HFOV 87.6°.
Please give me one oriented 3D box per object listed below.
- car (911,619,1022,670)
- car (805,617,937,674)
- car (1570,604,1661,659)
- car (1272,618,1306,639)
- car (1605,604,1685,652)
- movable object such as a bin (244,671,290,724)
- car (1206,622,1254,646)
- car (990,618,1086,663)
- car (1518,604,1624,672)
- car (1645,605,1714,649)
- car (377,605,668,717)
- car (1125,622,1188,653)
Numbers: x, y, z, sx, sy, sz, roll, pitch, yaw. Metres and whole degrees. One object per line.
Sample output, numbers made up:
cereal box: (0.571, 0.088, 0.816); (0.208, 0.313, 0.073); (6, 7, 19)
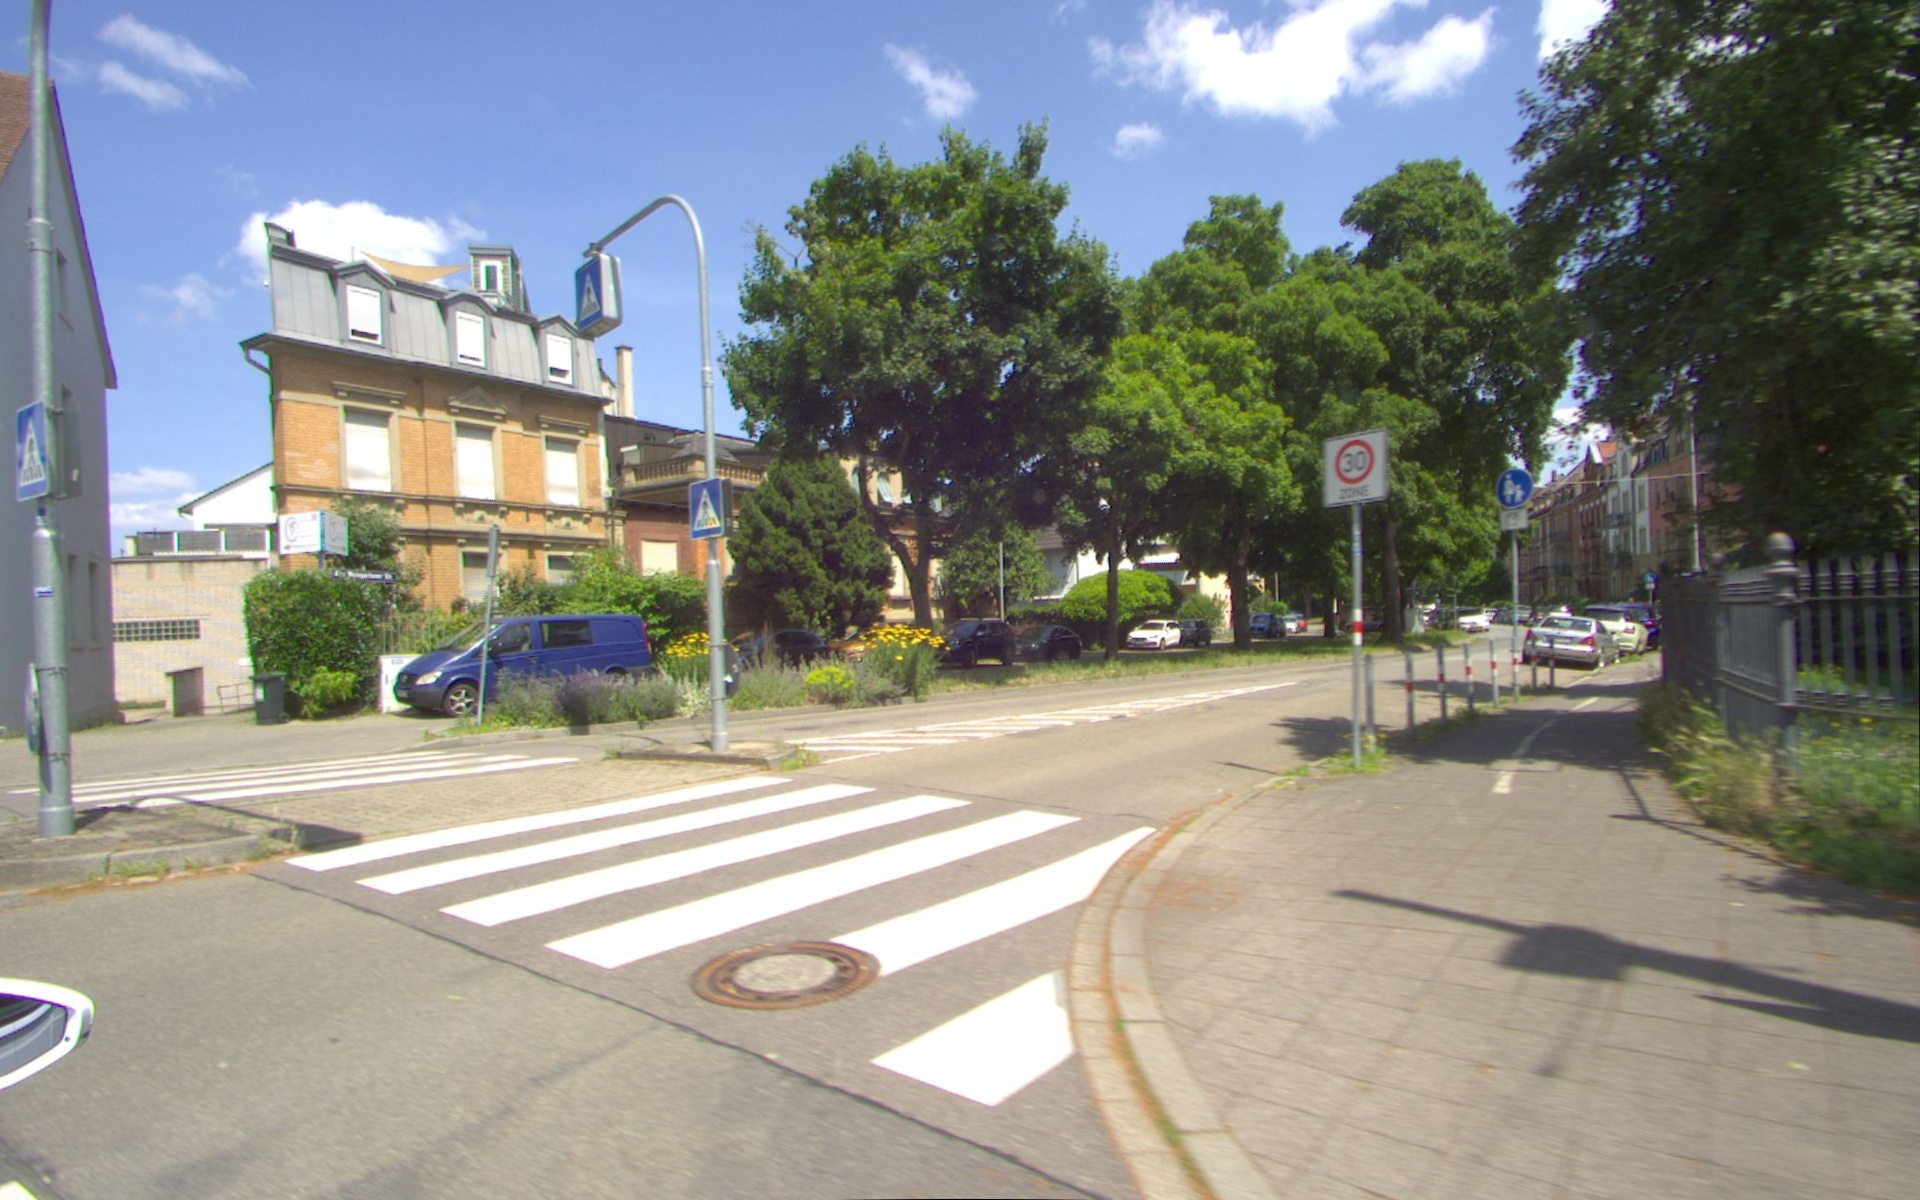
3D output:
car: (0.297, 1.575, 35.184); (1.836, 1.610, 4.221); (-4, -4, 33)
car: (-2.670, 1.411, 30.997); (1.836, 1.610, 4.221); (-4, -4, 33)
car: (19.158, 0.933, 29.192); (1.591, 1.458, 3.699); (-5, -4, 42)
car: (24.563, 2.129, 74.688); (1.492, 1.410, 4.441); (-4, -4, 30)
car: (22.524, 0.938, 32.878); (1.591, 1.458, 3.699); (-5, -4, 42)
movable object such as a bin: (-12.588, 1.759, 18.184); (0.549, 0.927, 0.420); (-2, -3, 8)
car: (16.698, 2.113, 61.798); (1.494, 1.410, 4.436); (-4, -4, 33)
car: (3.172, 1.617, 39.695); (1.836, 1.610, 4.436); (-4, -4, 33)
car: (15.693, 0.942, 25.650); (1.589, 1.572, 3.699); (3, 1, 42)
car: (26.556, 1.018, 36.929); (1.591, 1.458, 3.699); (-5, -4, 42)
car: (-8.982, 1.147, 20.965); (2.060, 1.973, 5.198); (-1, 0, 41)
car: (9.906, 1.905, 50.346); (1.494, 1.410, 4.436); (-4, -4, 33)
